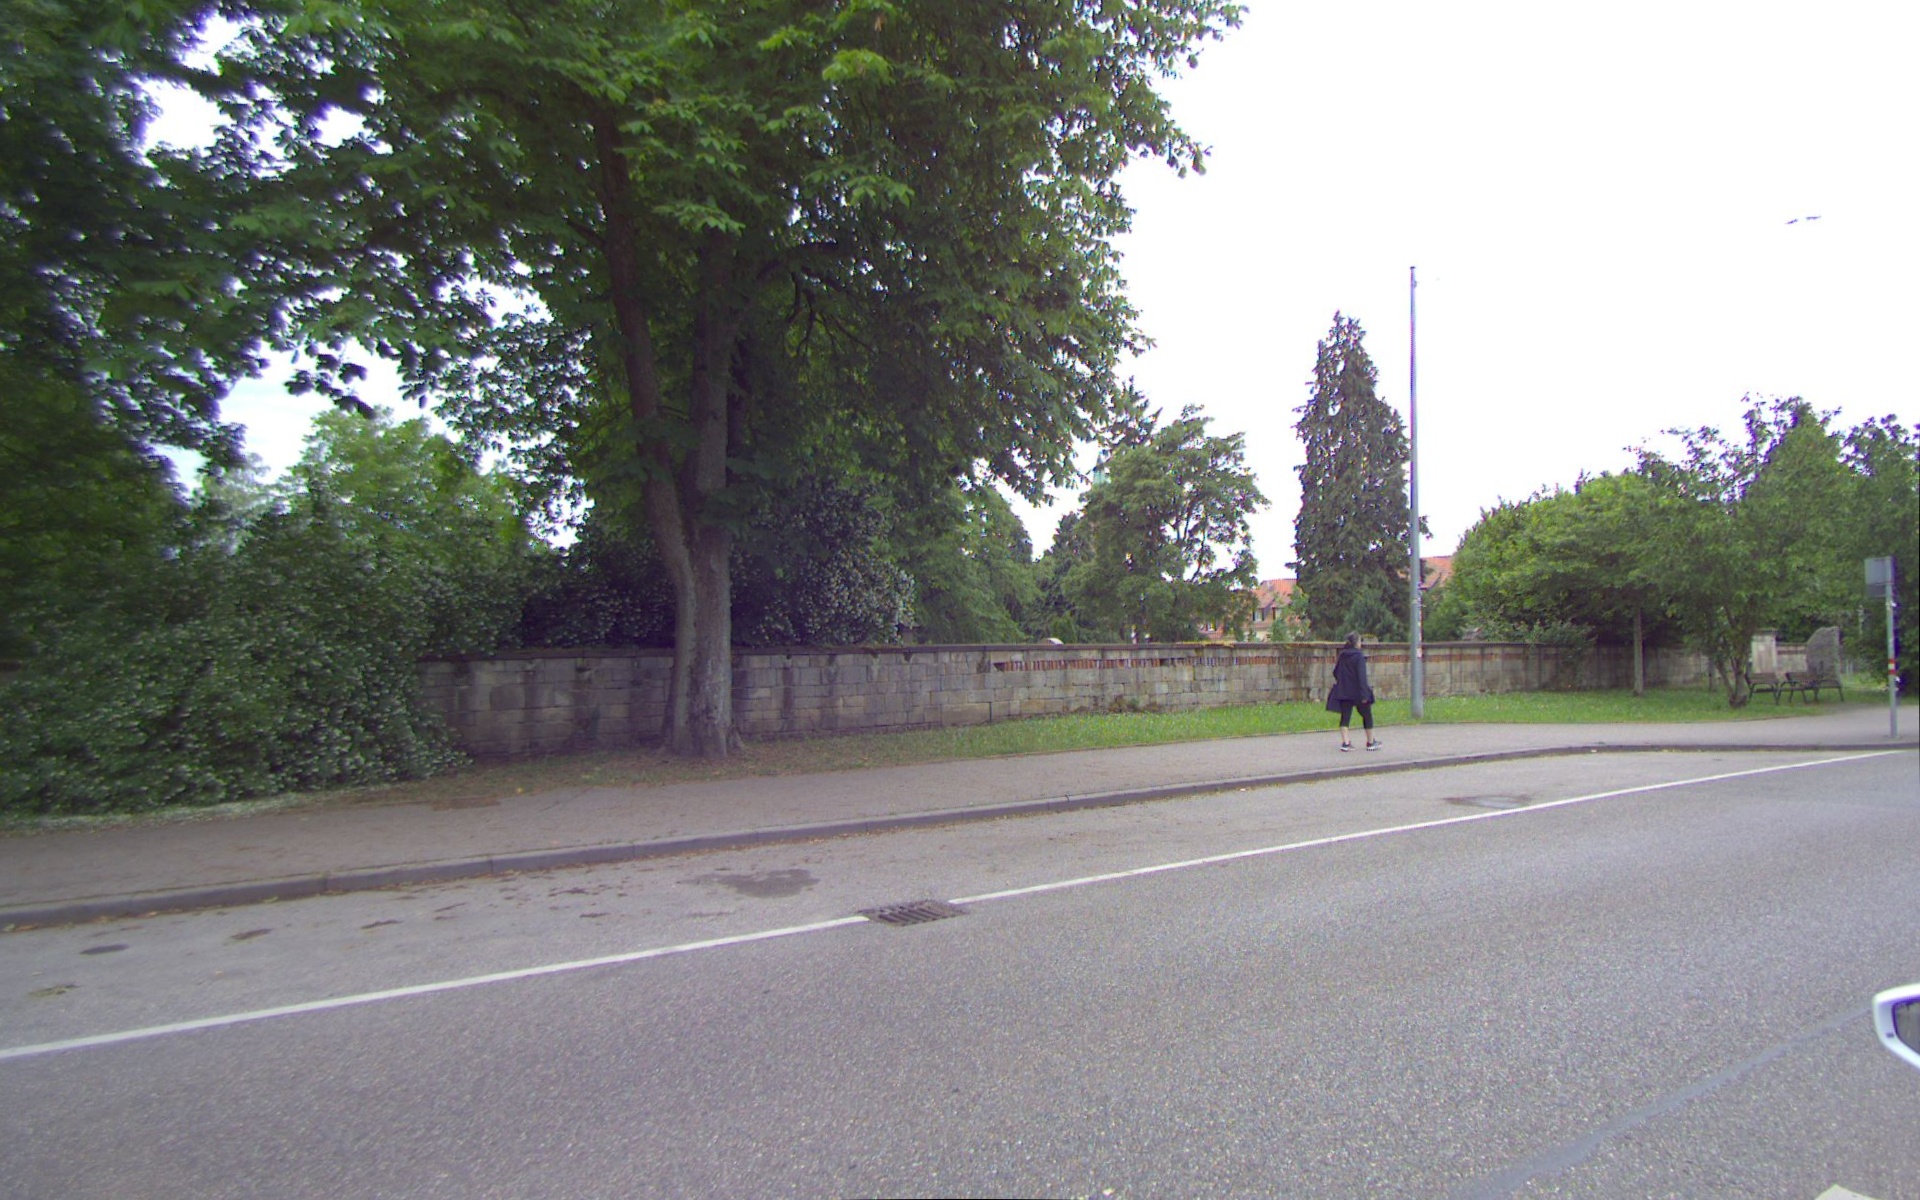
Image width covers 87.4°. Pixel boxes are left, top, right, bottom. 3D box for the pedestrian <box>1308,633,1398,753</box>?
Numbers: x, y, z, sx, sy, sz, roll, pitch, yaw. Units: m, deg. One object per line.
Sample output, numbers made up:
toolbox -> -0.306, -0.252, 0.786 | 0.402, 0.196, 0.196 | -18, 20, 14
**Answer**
pedestrian -> 5.475, 1.263, 14.003 | 0.955, 1.599, 0.745 | 1, -1, -30
